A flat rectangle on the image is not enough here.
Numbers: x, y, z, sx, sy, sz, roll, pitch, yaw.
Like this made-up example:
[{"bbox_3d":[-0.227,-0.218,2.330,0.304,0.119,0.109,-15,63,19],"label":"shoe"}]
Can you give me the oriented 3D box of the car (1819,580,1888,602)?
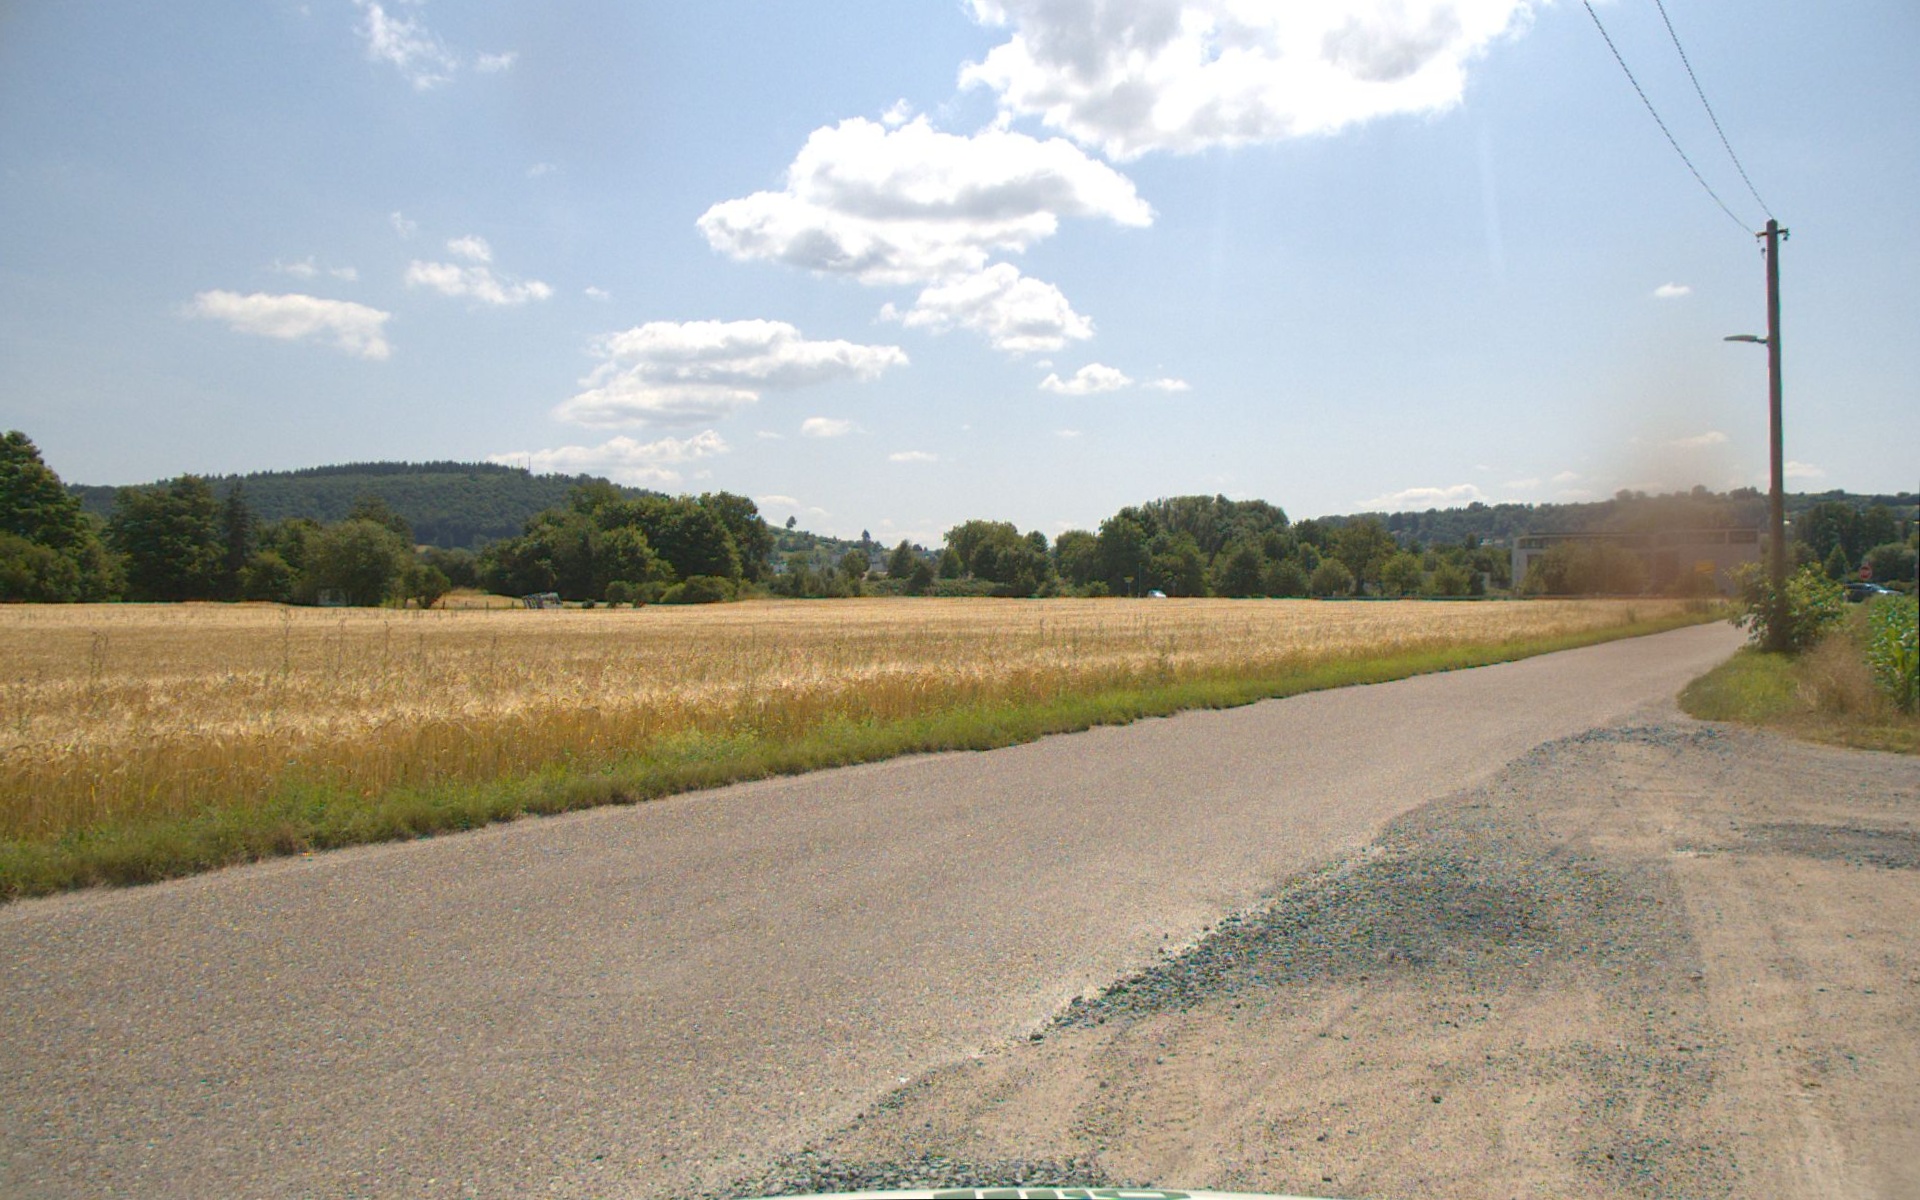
[{"bbox_3d":[66.069,-0.652,122.320,4.219,1.529,1.805,-1,0,44],"label":"car"}]
